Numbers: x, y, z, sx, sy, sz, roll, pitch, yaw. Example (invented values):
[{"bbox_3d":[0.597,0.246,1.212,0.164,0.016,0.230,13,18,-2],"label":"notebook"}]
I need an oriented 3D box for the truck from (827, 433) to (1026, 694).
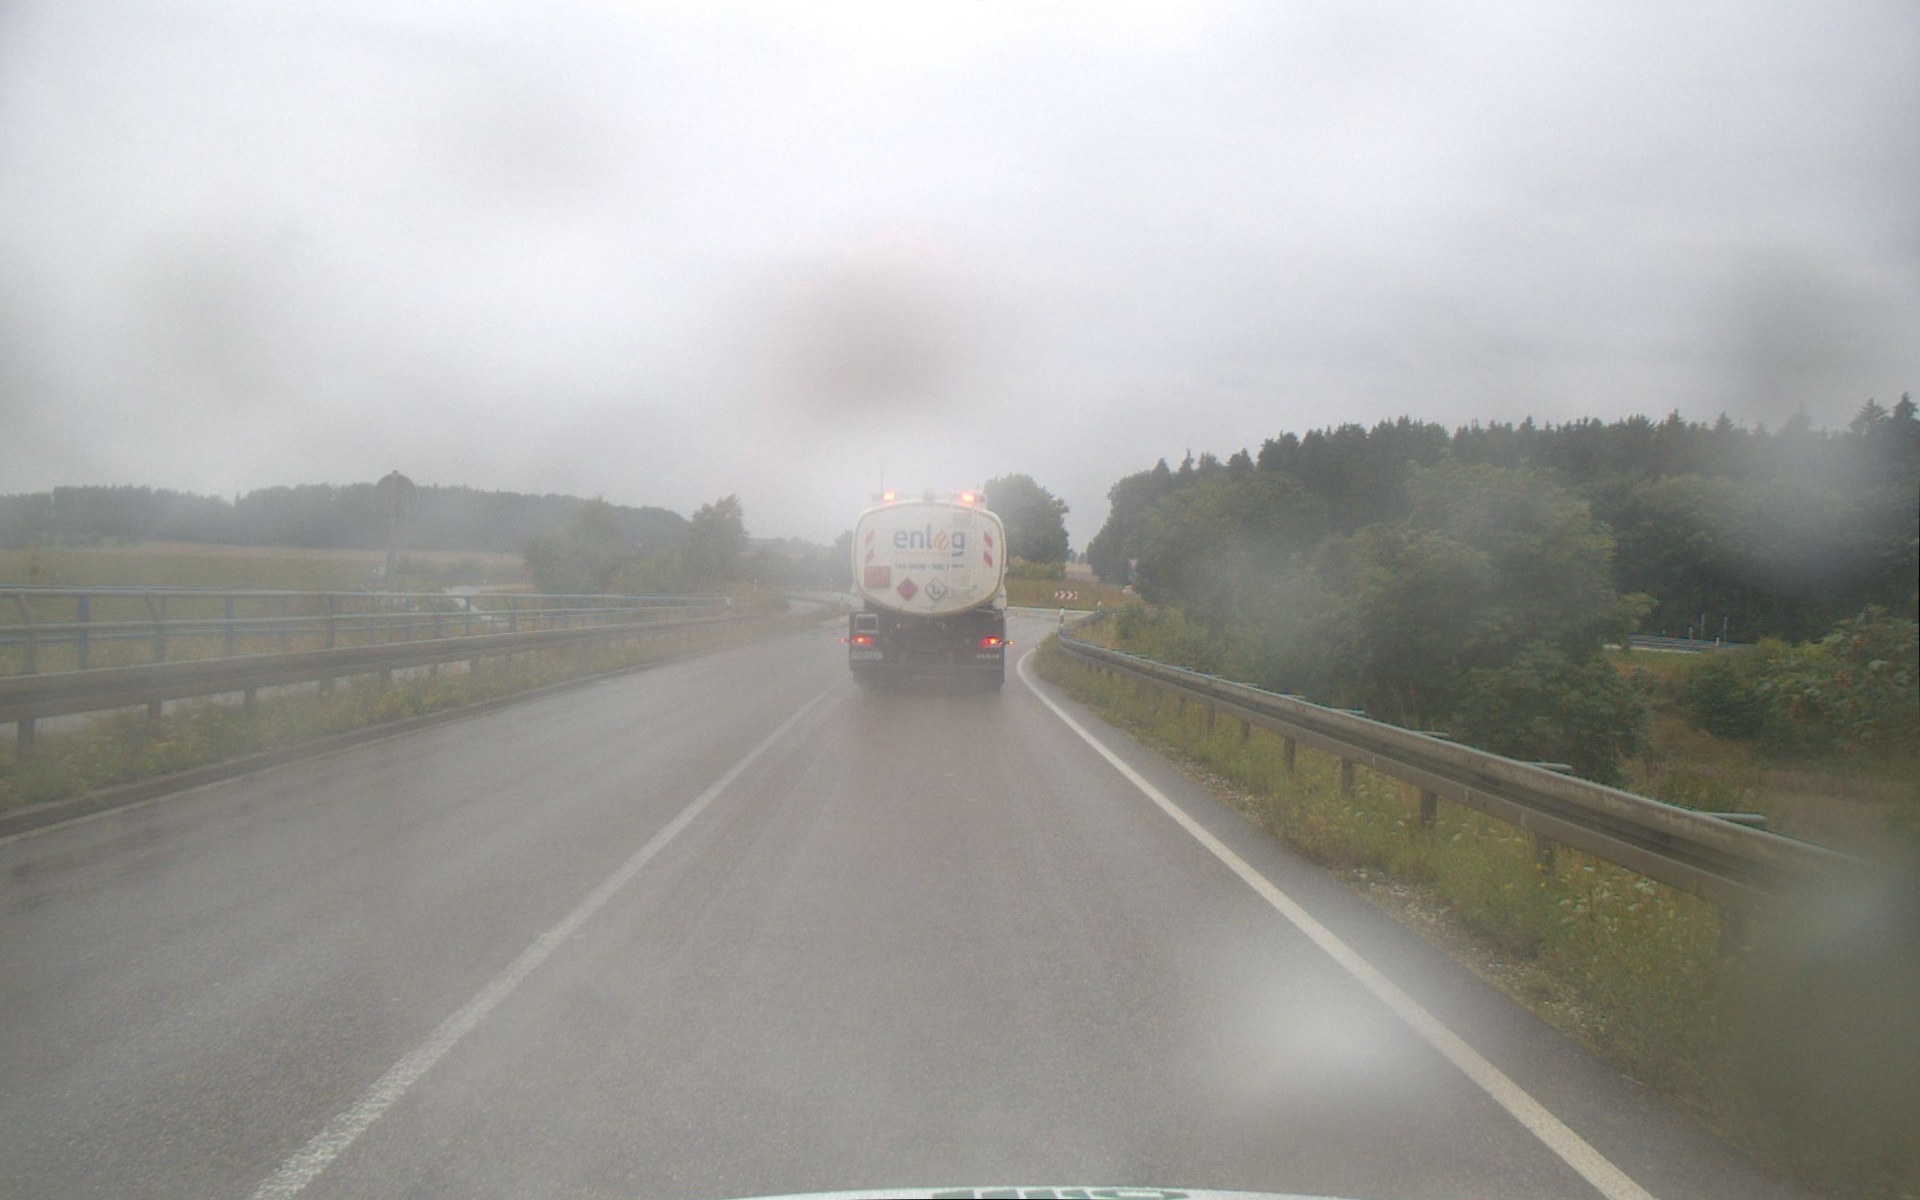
[{"bbox_3d":[-0.509,-0.604,29.500,2.977,3.919,8.822,1,1,0],"label":"truck"}]
